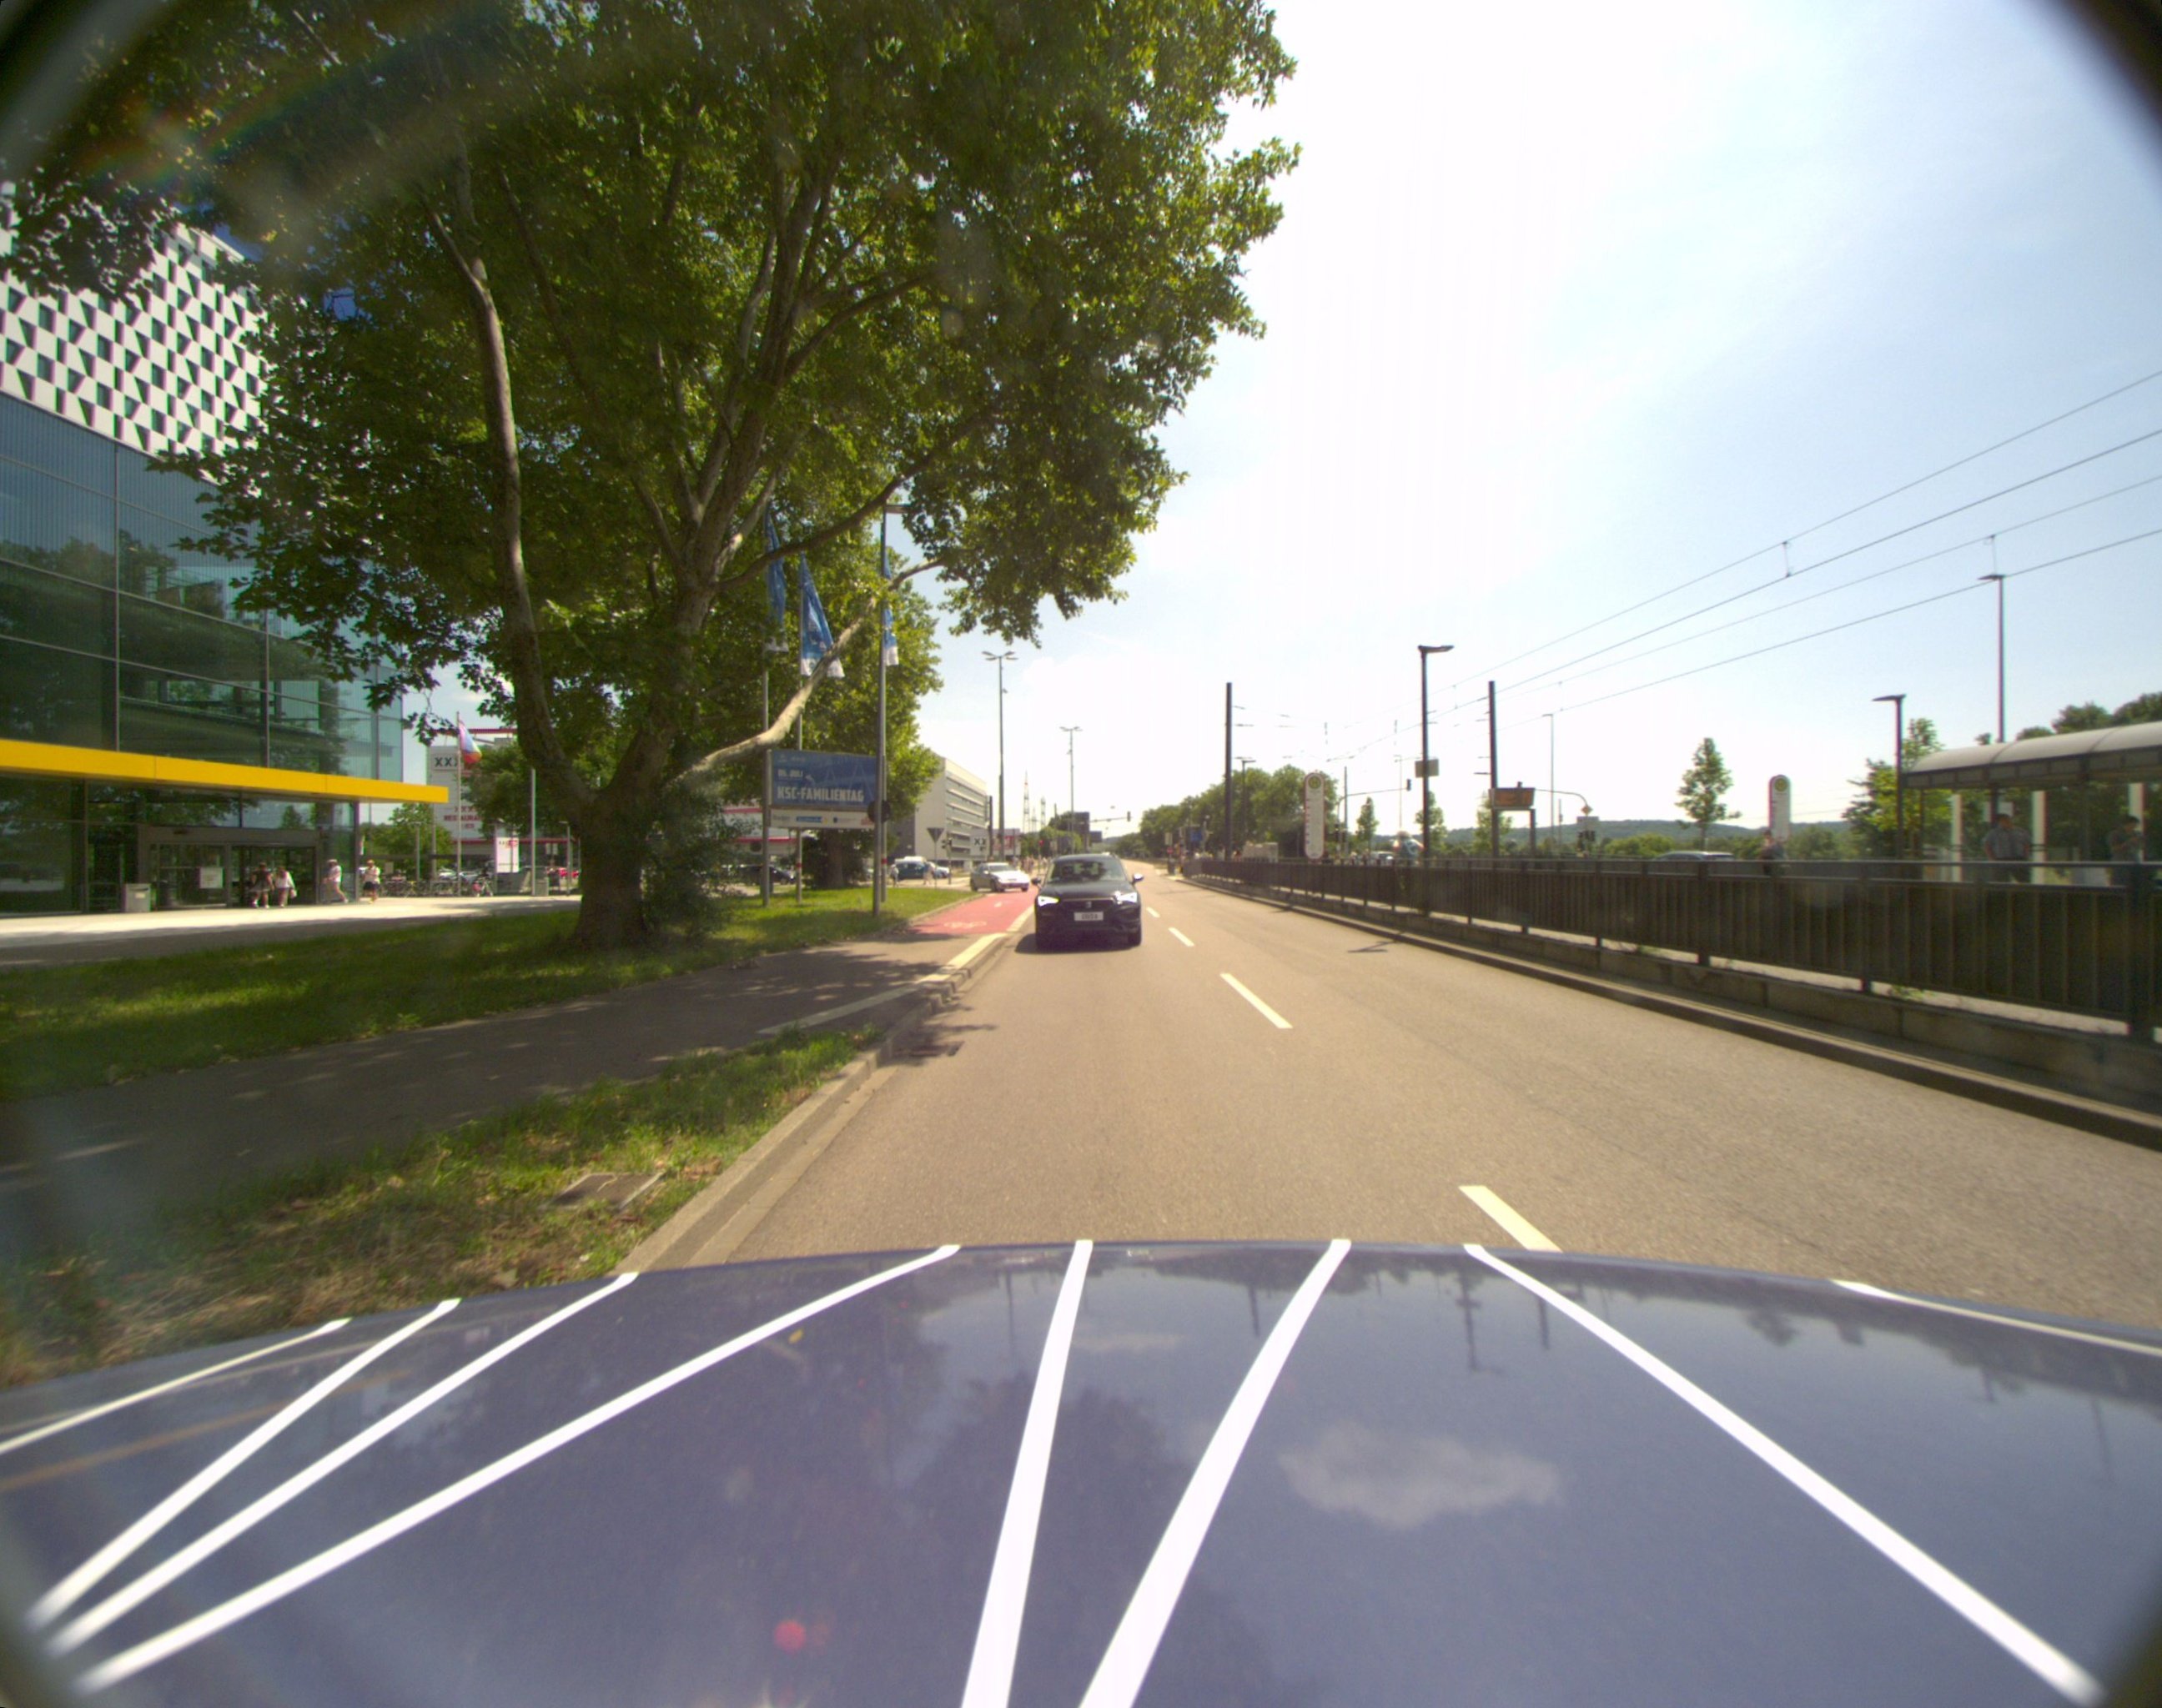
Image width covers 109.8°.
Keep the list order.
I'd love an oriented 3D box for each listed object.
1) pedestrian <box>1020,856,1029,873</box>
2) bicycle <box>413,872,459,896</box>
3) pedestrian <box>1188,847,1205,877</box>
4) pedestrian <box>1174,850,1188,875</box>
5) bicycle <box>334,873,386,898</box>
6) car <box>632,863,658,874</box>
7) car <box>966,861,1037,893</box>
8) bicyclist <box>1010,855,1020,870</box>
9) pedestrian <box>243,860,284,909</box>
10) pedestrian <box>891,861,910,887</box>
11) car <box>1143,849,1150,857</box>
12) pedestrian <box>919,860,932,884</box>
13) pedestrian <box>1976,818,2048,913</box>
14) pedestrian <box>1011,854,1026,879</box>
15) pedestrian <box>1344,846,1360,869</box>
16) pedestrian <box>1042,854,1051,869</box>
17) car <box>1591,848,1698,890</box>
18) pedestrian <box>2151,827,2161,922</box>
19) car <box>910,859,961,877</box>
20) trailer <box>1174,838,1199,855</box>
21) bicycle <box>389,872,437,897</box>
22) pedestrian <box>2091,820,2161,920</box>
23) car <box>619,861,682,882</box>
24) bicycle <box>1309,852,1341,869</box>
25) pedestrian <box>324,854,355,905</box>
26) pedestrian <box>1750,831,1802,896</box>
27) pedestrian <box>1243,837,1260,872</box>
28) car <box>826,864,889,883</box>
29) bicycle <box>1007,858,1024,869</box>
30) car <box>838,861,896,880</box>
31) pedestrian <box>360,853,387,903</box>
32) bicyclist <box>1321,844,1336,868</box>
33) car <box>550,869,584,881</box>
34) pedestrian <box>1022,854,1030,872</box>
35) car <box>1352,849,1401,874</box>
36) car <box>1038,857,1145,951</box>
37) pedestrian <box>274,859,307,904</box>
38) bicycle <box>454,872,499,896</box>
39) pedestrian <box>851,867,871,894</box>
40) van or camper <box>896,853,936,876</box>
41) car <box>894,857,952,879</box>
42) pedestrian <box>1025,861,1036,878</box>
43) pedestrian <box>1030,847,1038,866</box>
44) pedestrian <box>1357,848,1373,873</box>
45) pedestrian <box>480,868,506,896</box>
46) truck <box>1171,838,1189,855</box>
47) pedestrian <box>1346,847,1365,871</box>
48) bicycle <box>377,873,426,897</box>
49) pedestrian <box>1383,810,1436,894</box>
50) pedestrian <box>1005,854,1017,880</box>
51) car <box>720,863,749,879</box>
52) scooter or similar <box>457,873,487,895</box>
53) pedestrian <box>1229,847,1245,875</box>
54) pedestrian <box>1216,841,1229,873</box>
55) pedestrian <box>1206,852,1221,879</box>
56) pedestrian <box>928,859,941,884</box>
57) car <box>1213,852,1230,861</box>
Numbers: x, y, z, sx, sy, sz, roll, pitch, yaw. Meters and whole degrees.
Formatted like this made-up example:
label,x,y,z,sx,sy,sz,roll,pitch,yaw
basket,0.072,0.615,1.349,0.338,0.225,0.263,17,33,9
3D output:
label,x,y,z,sx,sy,sz,roll,pitch,yaw
pedestrian,-6.036,1.121,81.400,0.805,1.854,0.798,-2,1,6
bicycle,-34.197,1.581,40.336,0.803,1.192,2.430,-1,0,-12
pedestrian,6.992,0.467,46.037,0.865,1.792,0.883,-2,1,-3
pedestrian,6.608,0.555,50.076,0.787,1.563,0.764,-2,1,-2
bicycle,-37.890,1.656,39.990,0.803,1.192,2.430,-1,0,-12
car,-68.104,2.261,118.734,1.693,1.518,4.000,-2,0,2
car,-3.885,1.058,36.664,1.735,1.410,4.311,-3,1,-30
bicyclist,-7.241,0.958,83.564,0.818,1.690,0.797,0,0,-44
pedestrian,-29.752,1.098,27.667,0.781,1.725,0.742,-1,1,20
pedestrian,-11.627,1.293,48.841,0.795,1.649,0.853,-1,1,22
car,21.763,-0.323,252.236,1.998,1.824,4.441,6,-9,3
pedestrian,-10.713,1.218,52.395,0.603,1.628,0.864,-2,2,8
pedestrian,17.306,0.203,14.147,0.736,1.719,0.579,0,1,38
pedestrian,-4.128,0.840,49.954,0.896,1.597,0.767,-2,1,-3
pedestrian,18.344,0.219,51.378,0.763,1.539,0.764,-1,1,-1
pedestrian,-3.533,0.776,77.483,0.592,1.467,0.804,-1,1,-39
car,26.004,0.641,35.240,1.998,1.620,3.999,-4,1,2
pedestrian,17.540,0.323,11.930,0.578,1.524,0.639,-1,1,2
car,-11.969,1.132,62.642,3.834,1.389,1.803,-1,0,-2
trailer,24.140,-1.677,174.741,3.123,3.848,15.478,0,0,-2
bicycle,-35.129,1.580,40.007,0.803,1.192,2.430,-1,0,-12
pedestrian,17.672,0.256,12.697,0.826,1.629,0.579,0,1,38
car,-35.421,1.467,62.571,4.078,1.630,2.001,-1,-2,2
bicycle,17.198,0.456,53.571,1.979,1.094,0.763,-2,1,-14
pedestrian,-29.547,1.011,30.280,0.734,2.002,0.797,-2,1,-37
pedestrian,17.758,0.233,19.434,0.558,1.628,0.806,-1,1,-6
pedestrian,8.220,0.005,36.736,0.615,1.671,0.720,-2,1,-1
car,-17.601,1.524,59.883,4.411,1.435,1.853,0,0,0
bicycle,-7.254,1.032,83.549,0.833,1.155,1.874,-1,-1,-45
car,-17.671,1.356,62.910,4.227,1.390,1.805,-1,0,8
pedestrian,-29.109,0.982,31.266,0.734,2.002,0.797,-2,1,-39
bicyclist,17.484,0.135,53.633,0.666,1.606,0.732,-2,1,-15
car,-74.585,3.030,110.303,1.852,1.692,4.172,-1,0,5
pedestrian,-4.803,0.805,66.112,0.528,1.570,0.612,-1,1,5
car,20.900,0.484,53.921,1.998,1.619,4.000,-2,1,2
car,0.149,0.876,15.084,1.820,1.583,4.000,-1,0,-1
pedestrian,-29.498,1.028,28.357,0.606,1.662,0.587,-1,1,17
bicycle,-31.580,1.529,39.748,0.803,1.138,2.430,-1,0,-12
pedestrian,-13.935,1.669,48.157,0.796,1.649,0.853,-1,1,18
van or camper,-22.965,1.414,106.005,2.713,2.929,7.618,-2,1,10
car,-12.339,1.076,59.592,3.997,1.546,2.000,-2,0,1
pedestrian,-5.017,1.547,75.583,0.786,1.663,0.944,-2,1,-30
pedestrian,-4.075,0.233,66.034,0.528,1.656,0.640,-1,1,5
pedestrian,18.716,0.414,50.100,0.763,1.662,0.764,-1,1,-1
pedestrian,-33.847,1.591,43.736,0.920,1.577,0.633,-1,1,-4
truck,23.773,-1.812,182.590,3.134,4.016,7.473,-1,1,-2
pedestrian,18.953,0.351,52.439,0.959,1.601,0.764,-1,1,-1
bicycle,-36.343,1.632,40.677,0.803,1.192,2.430,-1,0,-12
pedestrian,6.681,-0.039,15.490,0.734,1.656,0.742,-1,1,0
pedestrian,-4.538,0.826,49.152,0.725,1.673,0.625,-2,1,-3
car,-49.589,2.387,108.732,1.998,2.002,4.000,-2,1,4
scooter or similar,-34.949,1.728,43.621,1.076,1.191,0.728,-1,1,0
pedestrian,7.520,0.342,36.630,0.615,1.337,0.720,-2,1,-1
pedestrian,6.994,0.151,37.568,0.498,1.568,0.557,-1,1,0
pedestrian,8.467,0.737,48.578,0.734,1.663,0.678,-2,1,-2
pedestrian,-10.094,1.197,52.319,0.607,1.628,0.864,-2,2,8
car,24.002,0.423,129.931,1.998,1.436,4.349,-1,0,1
